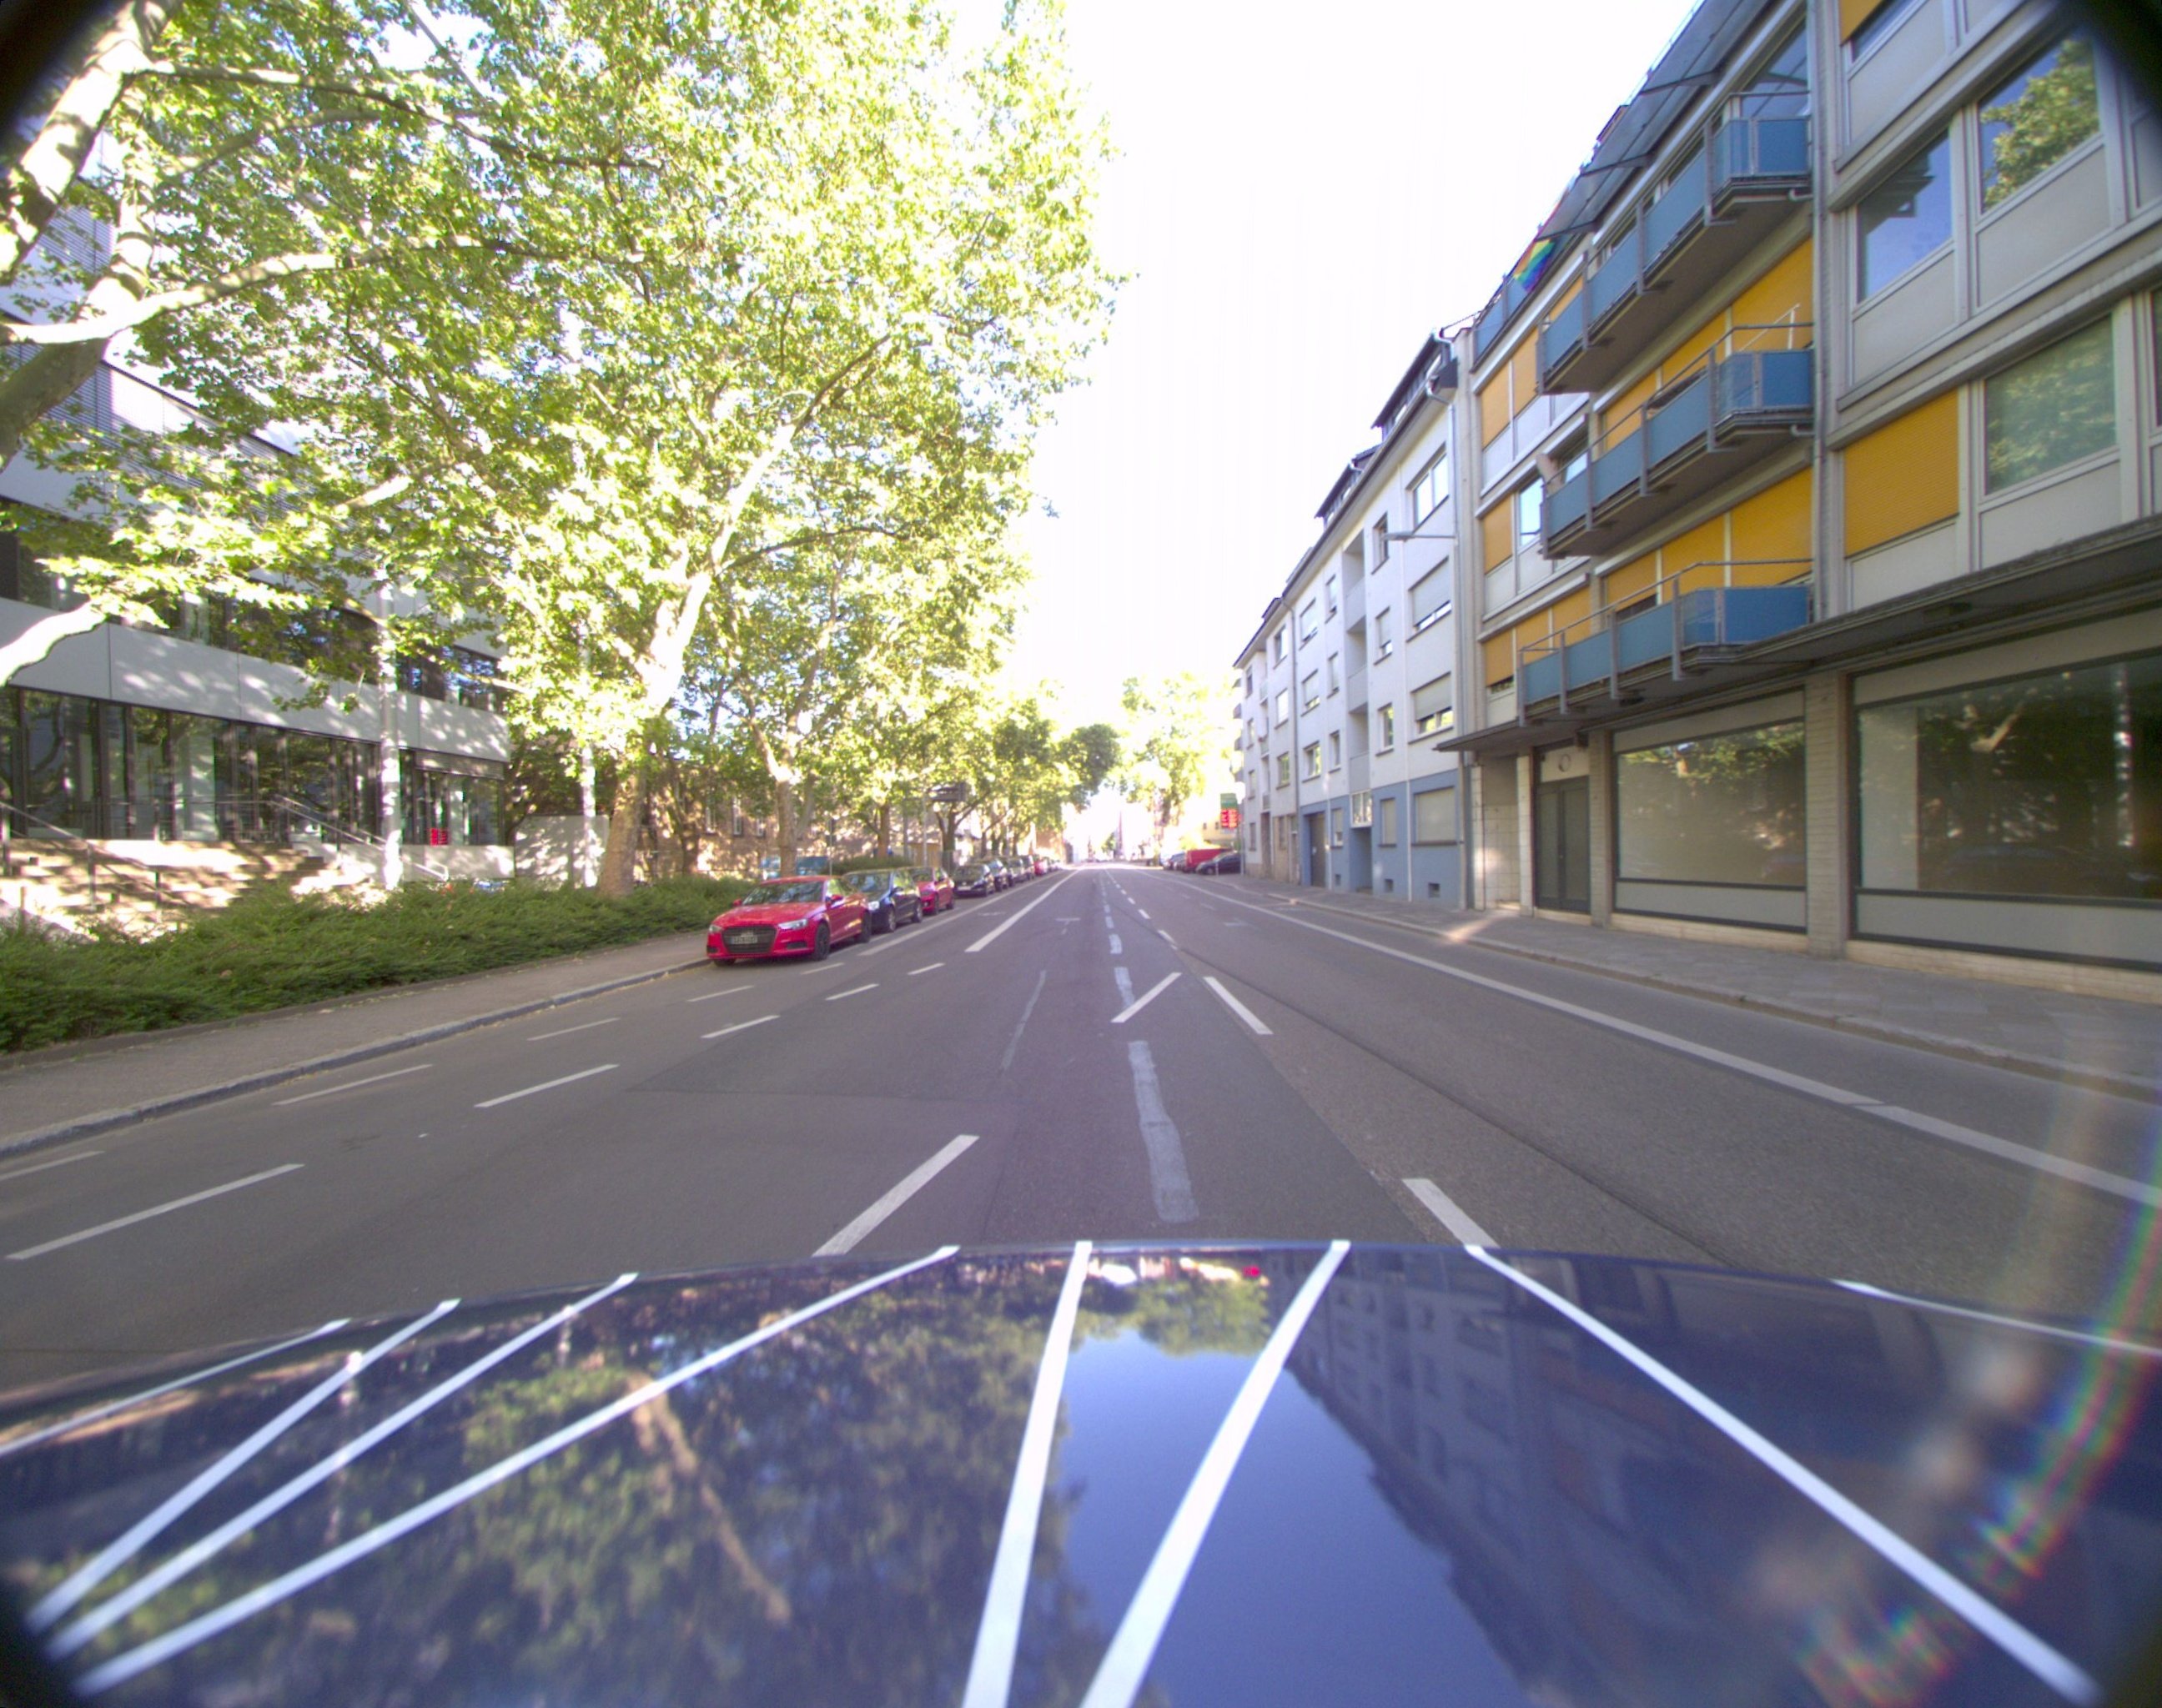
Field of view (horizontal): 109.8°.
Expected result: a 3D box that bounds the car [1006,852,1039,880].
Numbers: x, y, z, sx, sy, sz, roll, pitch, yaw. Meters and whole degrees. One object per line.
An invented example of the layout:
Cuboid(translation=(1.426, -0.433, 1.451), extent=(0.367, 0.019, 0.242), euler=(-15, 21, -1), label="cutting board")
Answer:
Cuboid(translation=(-4.238, 0.841, 55.571), extent=(1.998, 1.838, 3.999), euler=(-2, 1, 1), label="car")

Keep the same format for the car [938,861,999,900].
Cuboid(translation=(-4.841, 1.125, 33.180), extent=(1.998, 1.447, 3.589), euler=(-2, 1, 1), label="car")

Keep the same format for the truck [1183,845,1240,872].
Cuboid(translation=(10.284, 0.320, 60.211), extent=(4.092, 1.913, 2.000), euler=(-2, 1, 0), label="truck")

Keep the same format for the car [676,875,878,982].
Cuboid(translation=(-5.190, 1.194, 13.638), extent=(1.907, 1.417, 3.999), euler=(-2, 1, 1), label="car")

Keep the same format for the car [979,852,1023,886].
Cuboid(translation=(-4.611, 0.835, 44.517), extent=(1.998, 1.777, 4.572), euler=(-2, 1, 1), label="car")

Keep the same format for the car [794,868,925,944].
Cuboid(translation=(-5.176, 1.166, 18.299), extent=(1.998, 1.452, 3.644), euler=(-2, 1, 1), label="car")

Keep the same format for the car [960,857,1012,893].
Cuboid(translation=(-4.687, 1.002, 38.127), extent=(1.998, 1.592, 4.142), euler=(-2, 1, 1), label="car")

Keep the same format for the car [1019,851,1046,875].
Cuboid(translation=(-4.225, 0.775, 66.415), extent=(1.998, 1.960, 3.999), euler=(-2, 1, 1), label="car")

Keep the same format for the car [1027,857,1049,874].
Cuboid(translation=(-4.040, 1.078, 71.998), extent=(1.824, 1.466, 3.999), euler=(-2, 1, 1), label="car")

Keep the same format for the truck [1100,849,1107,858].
Cuboid(translation=(6.872, -0.304, 233.824), extent=(1.998, 2.653, 5.314), euler=(-2, 1, 0), label="truck")

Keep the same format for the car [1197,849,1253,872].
Cuboid(translation=(10.798, 0.450, 57.115), extent=(3.810, 1.563, 1.658), euler=(-2, 1, 0), label="car")

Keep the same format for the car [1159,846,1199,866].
Cuboid(translation=(10.946, 0.216, 85.314), extent=(4.236, 2.025, 2.000), euler=(-2, 1, 3), label="car")

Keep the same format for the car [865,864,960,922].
Cuboid(translation=(-5.131, 1.146, 23.676), extent=(1.998, 1.490, 3.828), euler=(-2, 1, 1), label="car")

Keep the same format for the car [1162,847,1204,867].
Cuboid(translation=(10.860, 0.282, 80.914), extent=(4.236, 1.945, 2.000), euler=(-2, 1, 3), label="car")

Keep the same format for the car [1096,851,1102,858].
Cuboid(translation=(6.159, 0.182, 259.455), extent=(1.998, 2.002, 3.999), euler=(-2, 1, 1), label="car")

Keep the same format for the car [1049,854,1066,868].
Cuboid(translation=(-3.189, 0.902, 103.009), extent=(1.998, 1.682, 3.999), euler=(-2, 1, 1), label="car")

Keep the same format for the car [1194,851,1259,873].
Cuboid(translation=(10.453, 0.572, 54.784), extent=(4.324, 1.398, 1.658), euler=(-2, 1, 0), label="car")

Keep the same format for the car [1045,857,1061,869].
Cuboid(translation=(-3.350, 1.066, 92.738), extent=(1.693, 1.364, 3.999), euler=(-2, 1, 1), label="car")

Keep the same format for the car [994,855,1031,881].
Cuboid(translation=(-4.525, 0.906, 50.942), extent=(1.998, 1.557, 4.142), euler=(-2, 1, 1), label="car")
